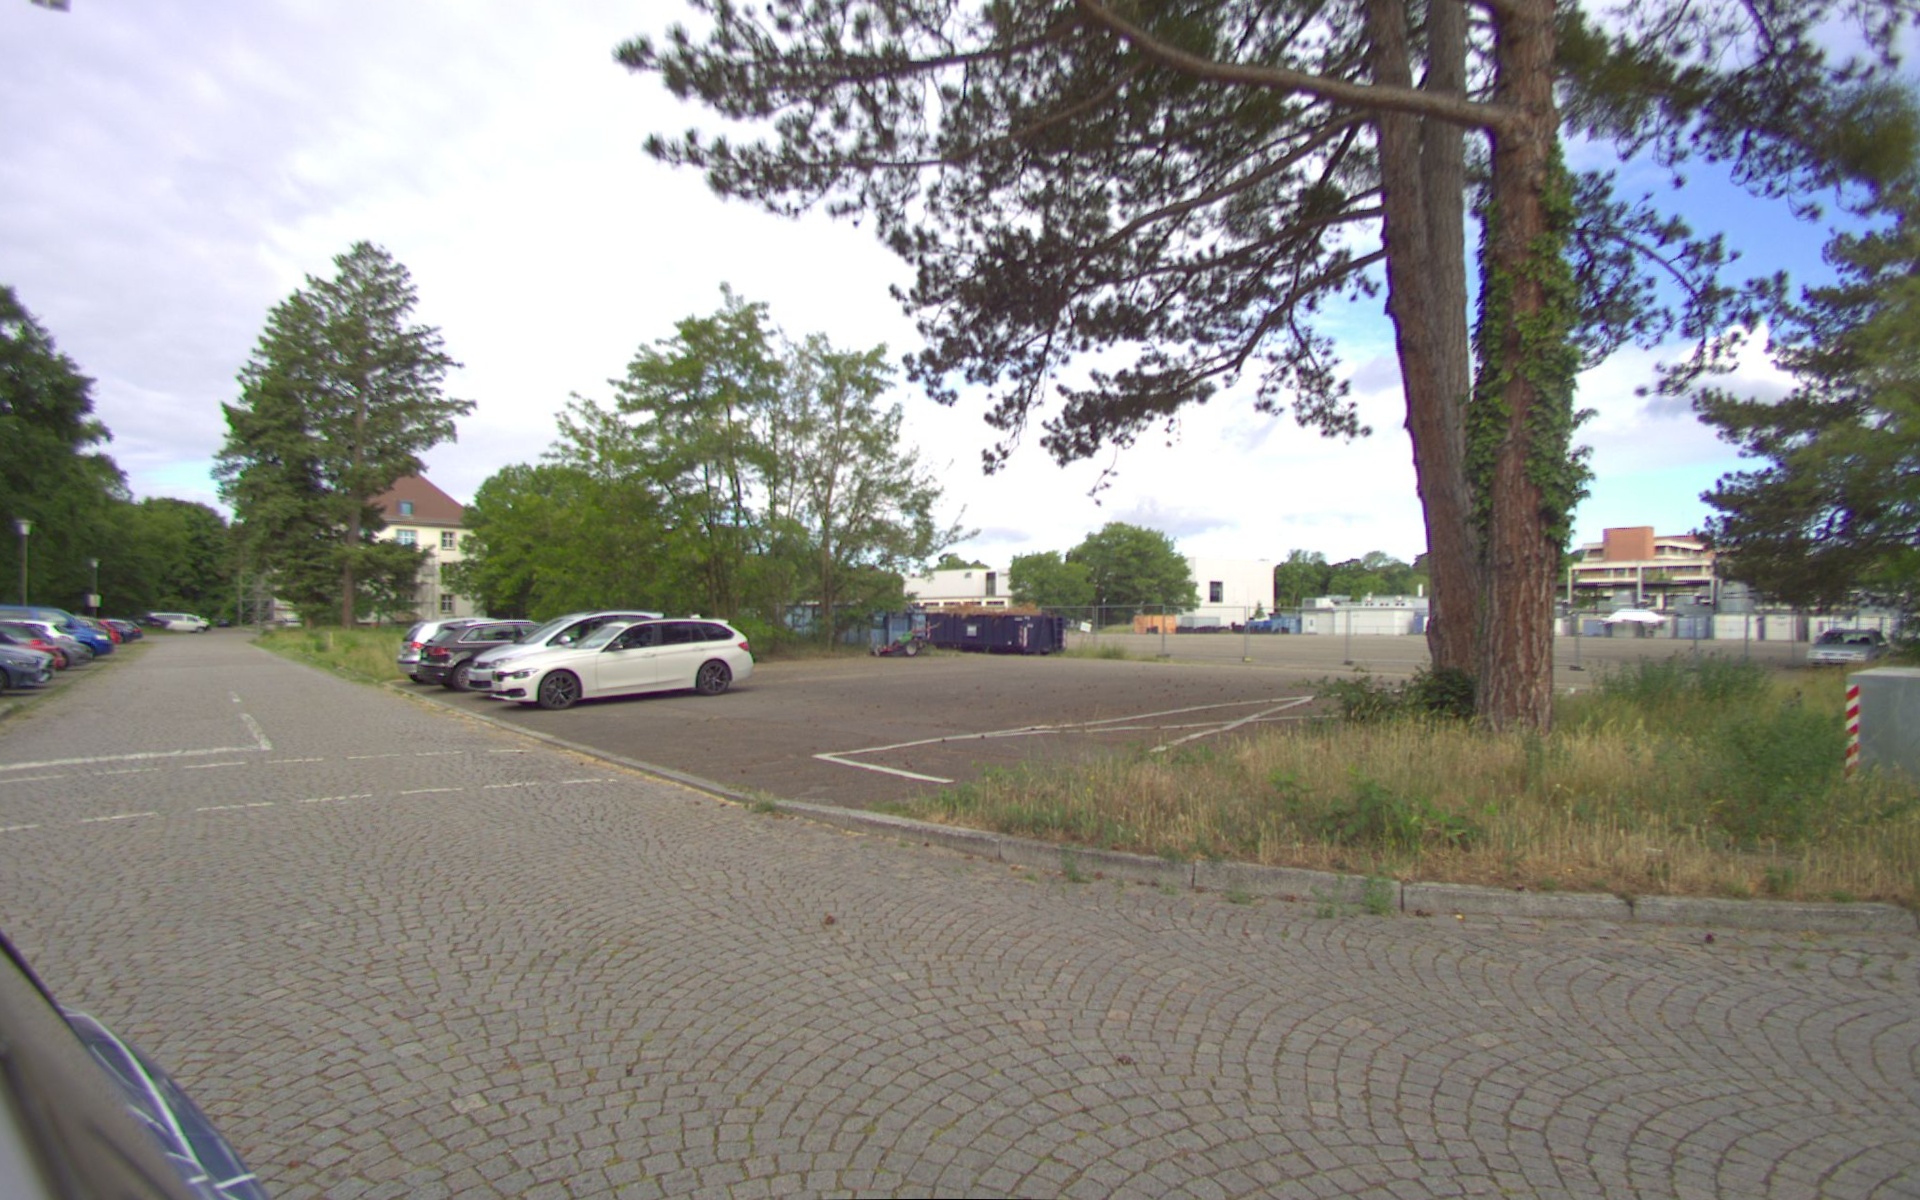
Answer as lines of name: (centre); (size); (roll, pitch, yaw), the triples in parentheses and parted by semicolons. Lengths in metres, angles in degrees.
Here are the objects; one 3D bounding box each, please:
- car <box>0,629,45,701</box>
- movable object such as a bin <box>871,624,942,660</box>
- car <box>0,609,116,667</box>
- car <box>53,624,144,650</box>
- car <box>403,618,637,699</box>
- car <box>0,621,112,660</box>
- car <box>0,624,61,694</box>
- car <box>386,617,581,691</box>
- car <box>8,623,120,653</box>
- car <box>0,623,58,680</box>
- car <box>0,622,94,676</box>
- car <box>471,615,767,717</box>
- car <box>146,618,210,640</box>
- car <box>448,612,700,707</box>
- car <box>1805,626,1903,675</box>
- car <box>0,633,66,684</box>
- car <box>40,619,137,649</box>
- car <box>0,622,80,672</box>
car: (-20.430, 1.175, 19.201); (4.371, 1.394, 1.667); (5, -4, -39)
movable object such as a bin: (-1.730, 1.381, 33.060); (2.232, 1.134, 0.860); (2, -2, -39)
car: (-33.272, 1.349, 36.179); (4.529, 2.021, 1.917); (2, -2, -35)
car: (-54.008, 2.318, 63.521); (4.027, 1.545, 1.731); (2, -3, -30)
car: (-9.529, 1.205, 22.113); (4.379, 1.435, 1.725); (-2, 0, -40)
car: (-38.869, 1.729, 43.119); (4.019, 1.605, 1.658); (2, -3, -35)
car: (-22.009, 1.235, 21.456); (4.180, 1.485, 1.721); (2, -3, -35)
car: (-11.303, 1.220, 24.130); (3.901, 1.481, 1.587); (-2, 0, -41)
car: (-45.252, 1.938, 51.249); (4.019, 1.456, 1.730); (2, -3, -36)
car: (-26.865, 1.349, 26.989); (3.986, 1.528, 1.604); (2, -3, -35)
car: (-28.127, 1.412, 29.589); (4.032, 1.528, 1.704); (2, -3, -35)
car: (-6.029, 1.095, 18.240); (4.679, 1.499, 1.870); (-1, -1, -40)
car: (-80.736, 3.006, 104.492); (5.070, 2.166, 1.777); (3, -3, -40)
car: (-7.628, 1.091, 20.238); (4.311, 1.610, 1.874); (-1, 0, -43)
car: (29.061, 1.591, 32.864); (4.095, 1.443, 1.739); (0, -1, -39)
car: (-24.943, 1.444, 25.091); (3.987, 1.250, 1.553); (2, -3, -37)
car: (-51.323, 2.032, 59.664); (4.017, 1.708, 1.731); (2, -3, -30)
car: (-30.274, 1.462, 31.632); (3.986, 1.528, 1.604); (2, -3, -35)
